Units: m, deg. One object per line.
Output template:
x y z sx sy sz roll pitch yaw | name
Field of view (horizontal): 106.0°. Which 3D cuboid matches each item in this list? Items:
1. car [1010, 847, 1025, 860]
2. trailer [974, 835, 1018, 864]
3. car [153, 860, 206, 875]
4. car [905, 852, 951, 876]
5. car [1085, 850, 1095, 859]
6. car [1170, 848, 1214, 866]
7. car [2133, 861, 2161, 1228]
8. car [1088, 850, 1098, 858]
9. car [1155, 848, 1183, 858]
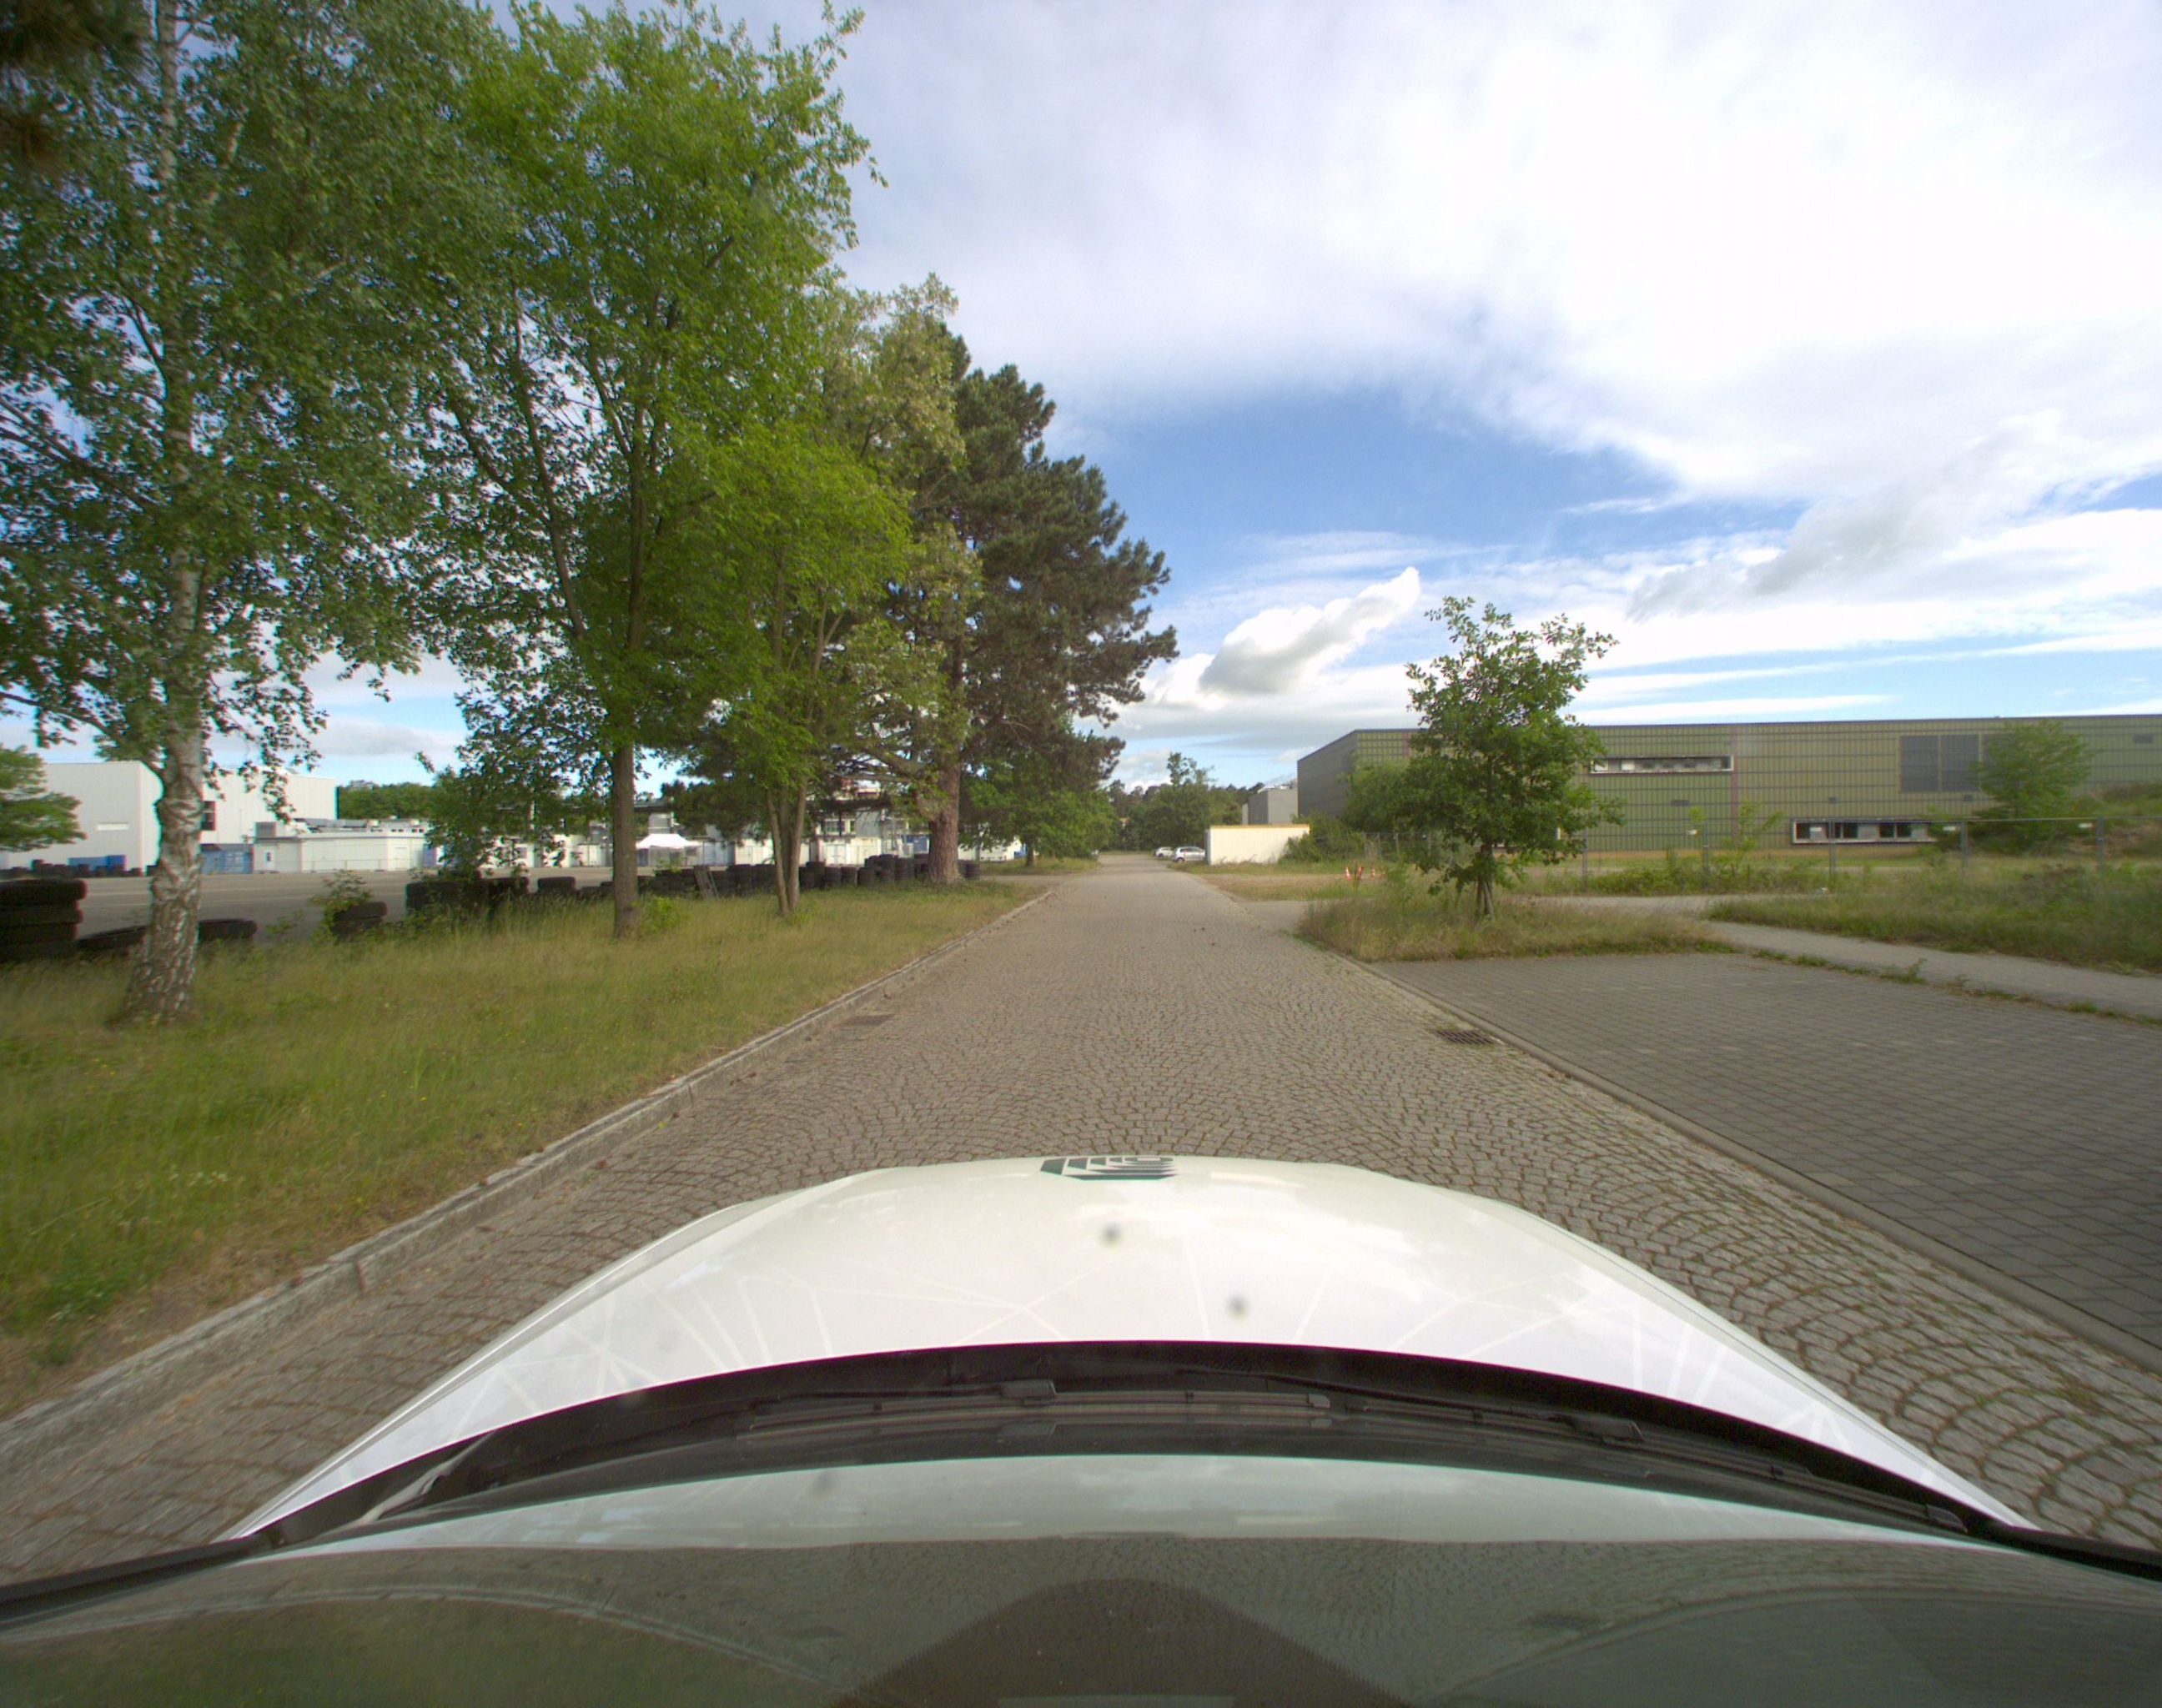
-10.130 -0.037 130.143 1.918 2.047 4.601 -1 0 1 | car
-9.211 -0.488 89.437 3.143 3.067 8.797 -1 0 5 | trailer
-97.316 1.473 87.954 3.952 1.533 1.631 -1 0 1 | car
-9.710 0.610 51.936 1.756 1.453 3.497 -1 0 9 | car
1.608 0.020 141.571 1.729 1.469 4.046 -1 0 1 | car
10.298 0.270 75.832 3.836 1.654 1.686 -1 0 0 | car
6.476 0.658 2.365 4.508 1.443 1.823 -3 0 -1 | car
2.264 -0.041 150.915 1.797 1.535 4.001 -1 0 1 | car
13.183 -0.137 121.938 4.007 1.502 1.550 -1 0 4 | car
